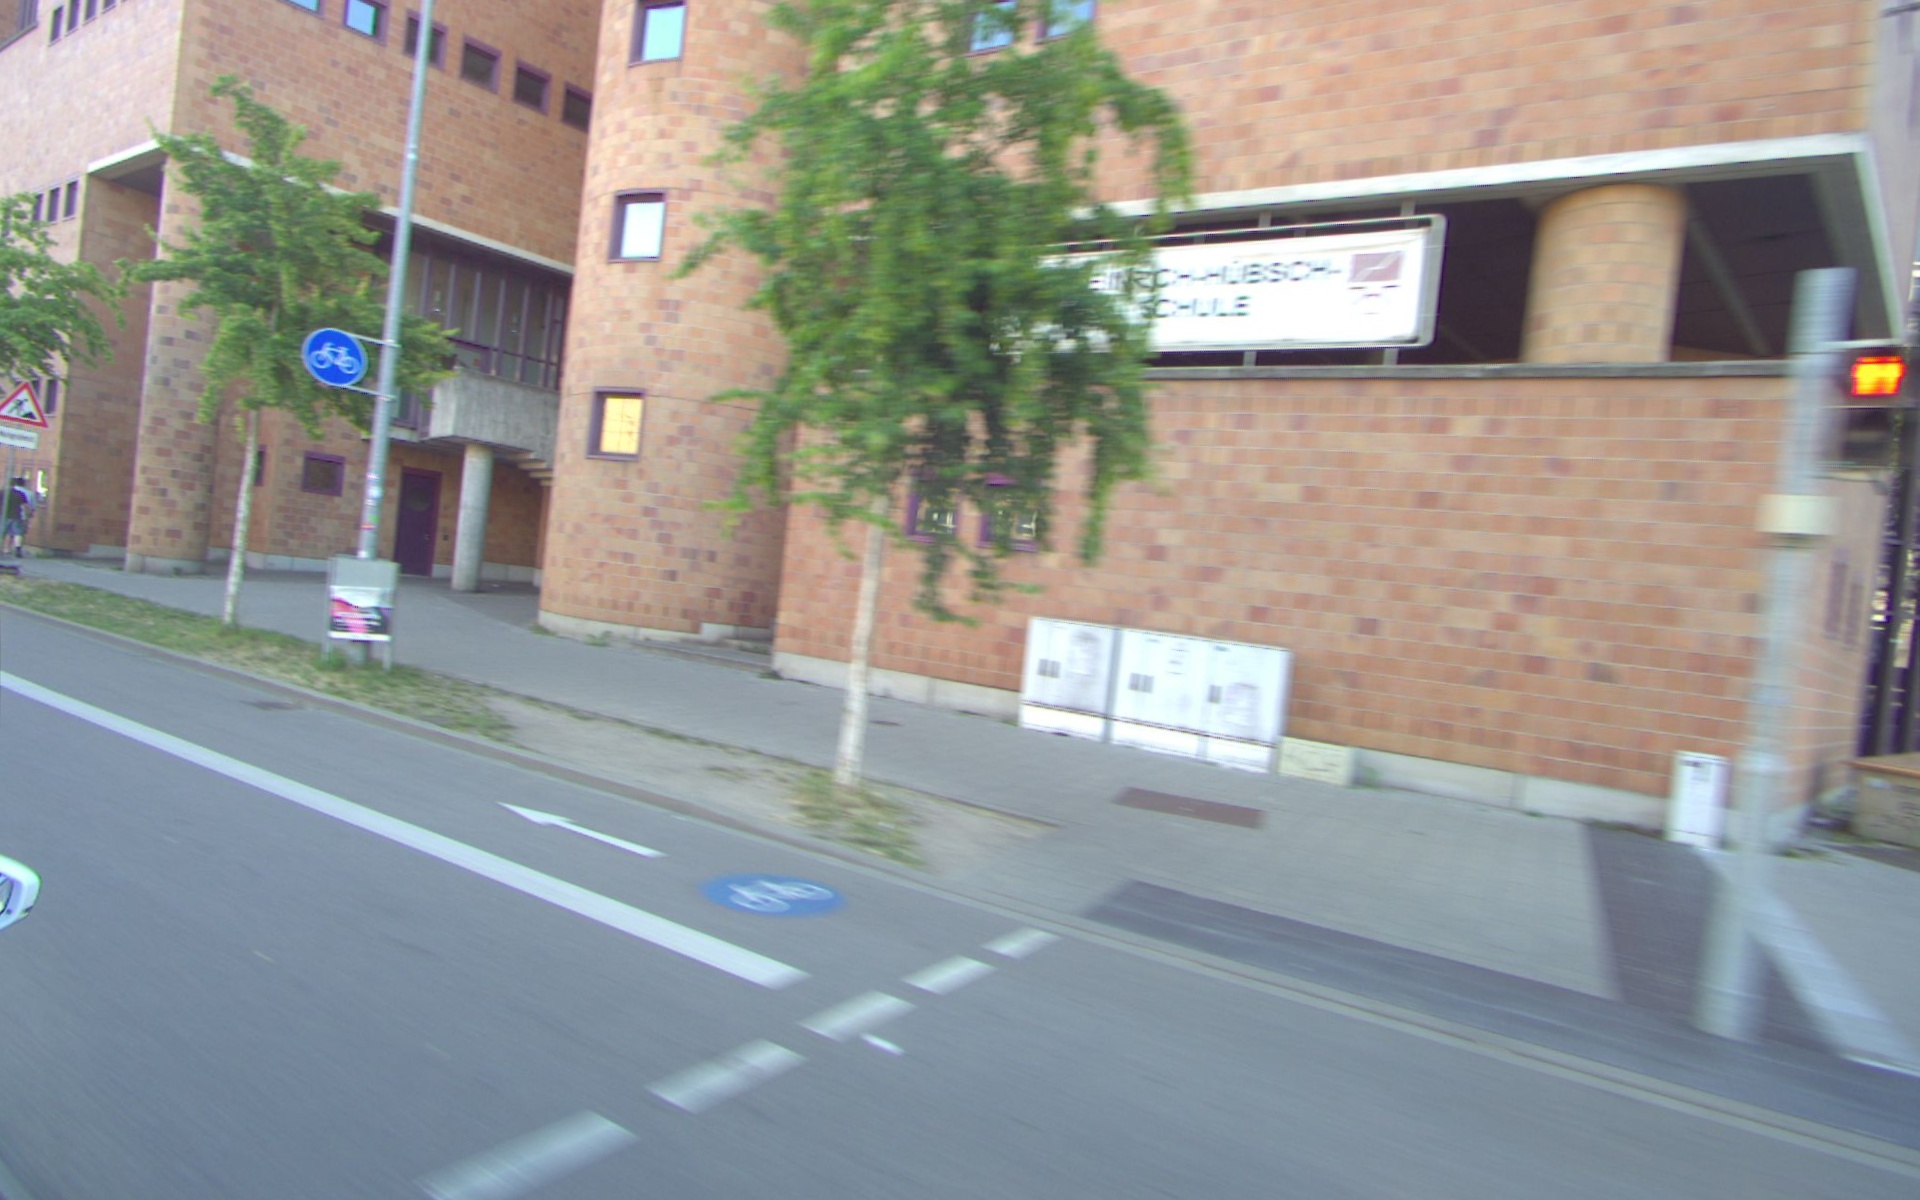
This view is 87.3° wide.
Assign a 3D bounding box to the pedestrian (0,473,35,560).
[{"bbox_3d":[-20.505,-1.805,21.629,0.685,1.778,0.731,7,1,40],"label":"pedestrian"}]

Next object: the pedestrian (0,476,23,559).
[{"bbox_3d":[-21.130,-1.839,22.182,0.686,1.778,0.535,7,1,43],"label":"pedestrian"}]

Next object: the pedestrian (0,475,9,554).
[{"bbox_3d":[-22.115,-1.974,22.894,0.686,1.778,0.535,7,1,43],"label":"pedestrian"}]
